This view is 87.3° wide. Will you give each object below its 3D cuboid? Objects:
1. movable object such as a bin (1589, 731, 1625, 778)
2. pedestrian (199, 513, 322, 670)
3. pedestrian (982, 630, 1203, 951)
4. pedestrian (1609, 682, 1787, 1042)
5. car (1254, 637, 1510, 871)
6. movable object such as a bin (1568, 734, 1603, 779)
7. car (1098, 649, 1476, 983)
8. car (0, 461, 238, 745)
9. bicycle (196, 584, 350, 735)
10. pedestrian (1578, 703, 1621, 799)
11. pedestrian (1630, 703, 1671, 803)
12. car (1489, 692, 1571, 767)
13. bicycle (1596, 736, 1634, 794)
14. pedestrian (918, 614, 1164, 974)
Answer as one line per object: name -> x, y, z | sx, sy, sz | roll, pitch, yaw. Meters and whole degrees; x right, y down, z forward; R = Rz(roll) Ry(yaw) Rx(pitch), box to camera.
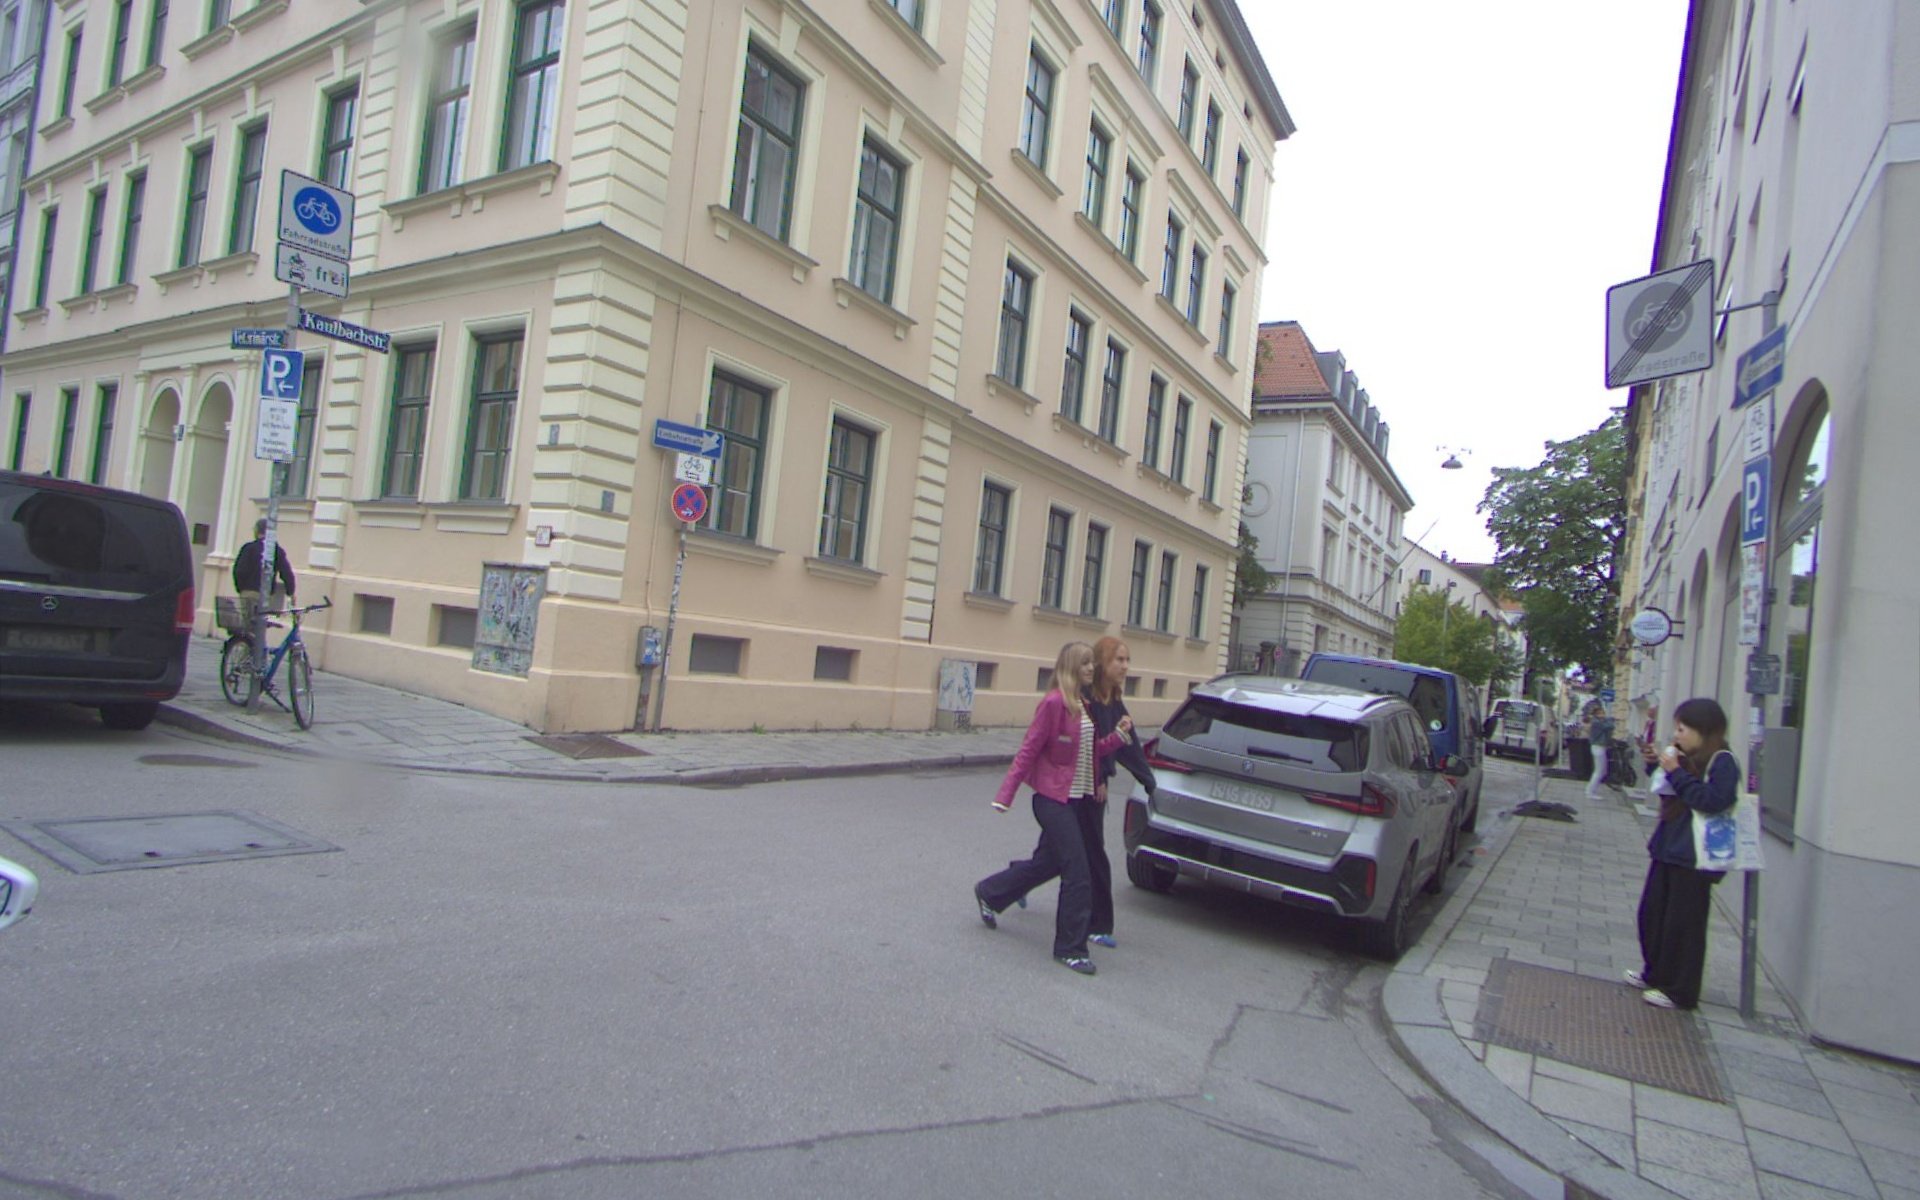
movable object such as a bin -> 15.668, 3.735, 24.347 | 0.569, 1.035, 0.562 | 7, -2, -45
pedestrian -> -8.223, -0.097, 11.837 | 0.987, 1.737, 0.720 | 4, -2, 32
pedestrian -> 0.781, 1.047, 5.882 | 0.964, 1.639, 0.659 | 4, -2, 32
pedestrian -> 3.794, 1.287, 5.217 | 0.517, 1.666, 0.636 | 5, -2, 25
car -> 5.174, 1.677, 11.923 | 1.942, 1.939, 4.448 | 9, 0, 31
movable object such as a bin -> 15.657, 3.910, 25.191 | 0.569, 1.035, 0.562 | 7, -2, -45
car -> 2.764, 1.399, 7.764 | 1.725, 1.624, 4.095 | 8, -1, 31
car -> -8.369, -0.142, 8.420 | 5.170, 1.885, 2.000 | 6, -3, 35
bicycle -> -6.115, 0.499, 8.921 | 1.701, 1.066, 0.465 | 8, 2, 34
pedestrian -> 12.103, 2.841, 19.047 | 0.564, 1.716, 0.497 | 4, -2, 33
pedestrian -> 13.173, 2.903, 19.203 | 0.535, 1.801, 0.509 | 4, -2, 34
car -> 19.412, 4.344, 34.226 | 2.043, 2.009, 4.339 | 9, 0, 31
bicycle -> 13.878, 3.469, 21.316 | 0.598, 1.084, 1.468 | 4, -3, 33
pedestrian -> 0.416, 0.943, 5.263 | 1.052, 1.644, 0.472 | 4, -2, 32
